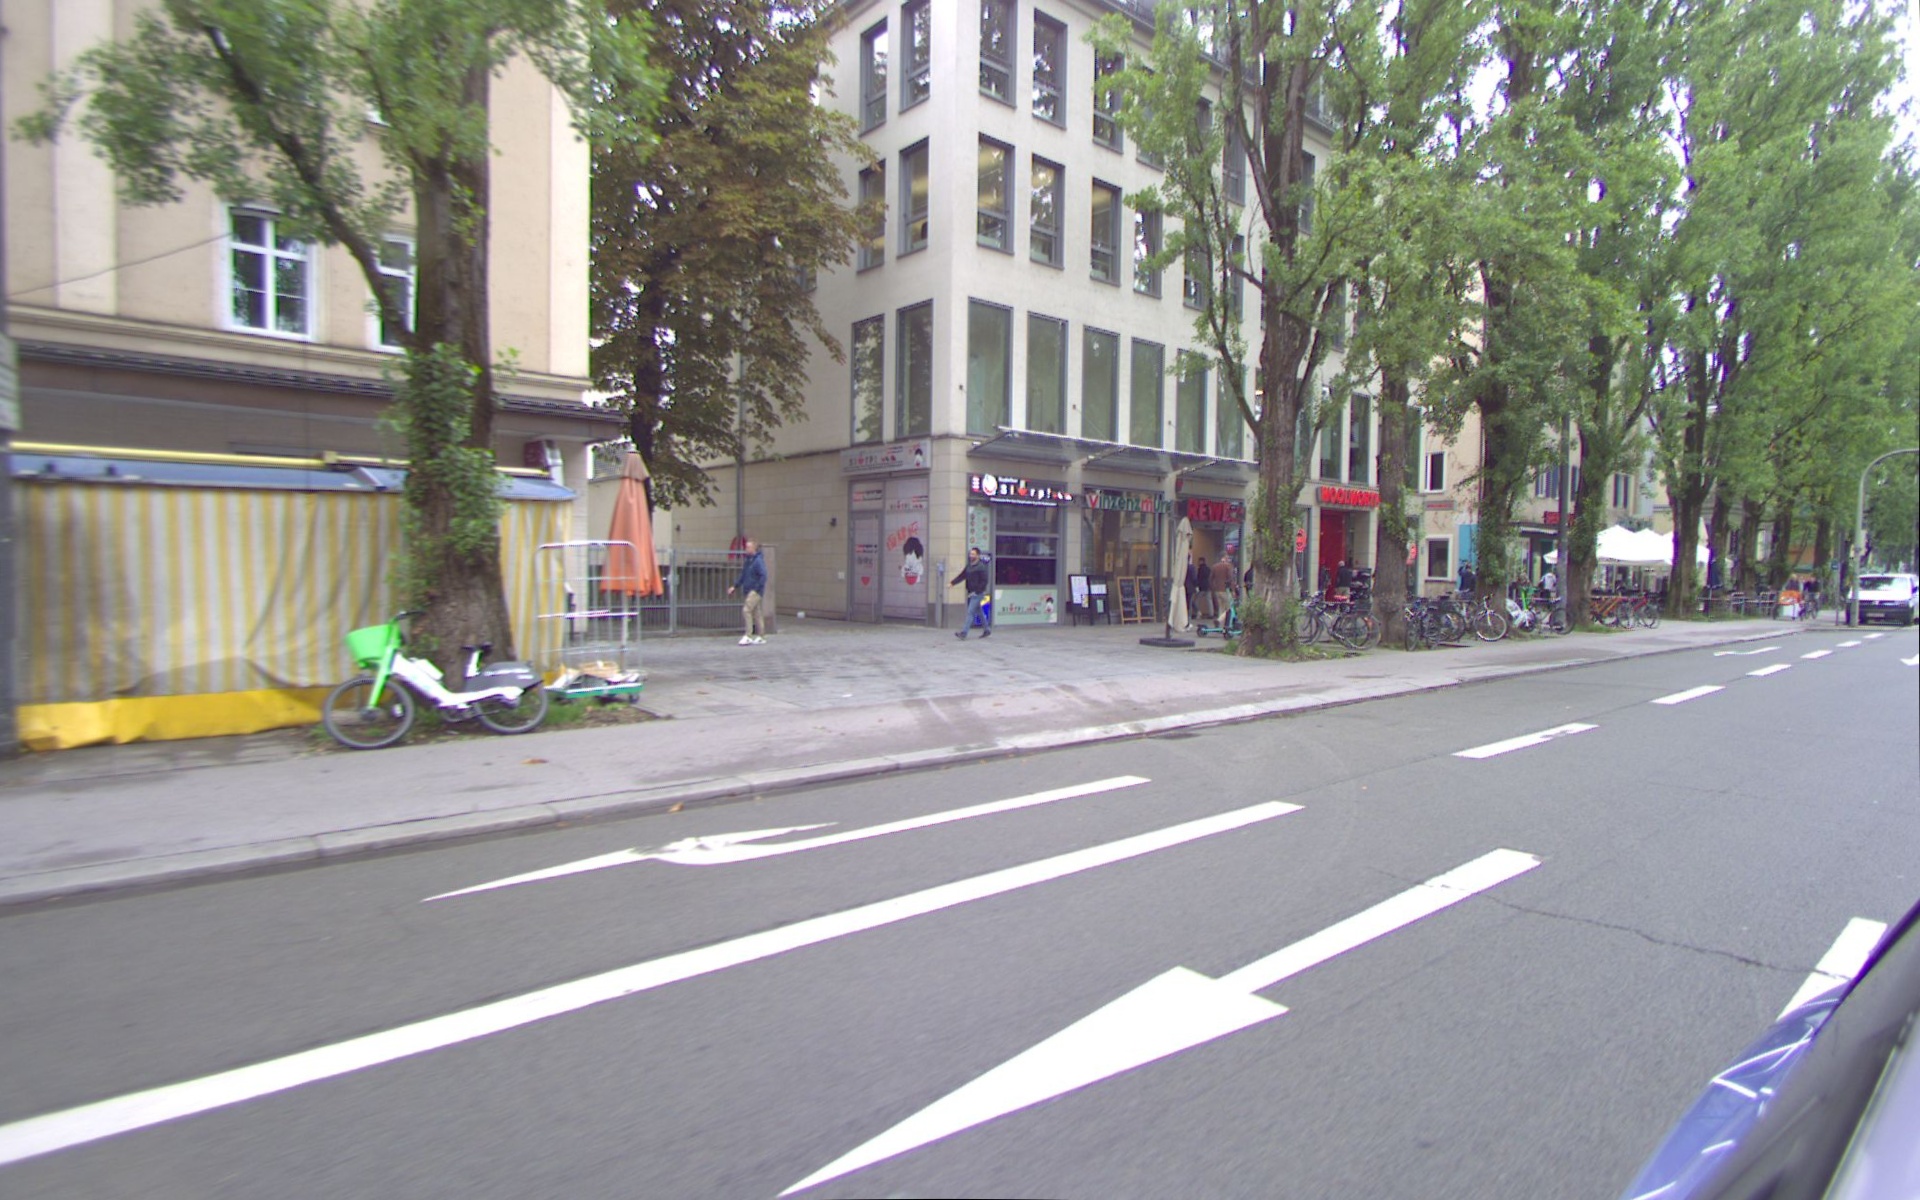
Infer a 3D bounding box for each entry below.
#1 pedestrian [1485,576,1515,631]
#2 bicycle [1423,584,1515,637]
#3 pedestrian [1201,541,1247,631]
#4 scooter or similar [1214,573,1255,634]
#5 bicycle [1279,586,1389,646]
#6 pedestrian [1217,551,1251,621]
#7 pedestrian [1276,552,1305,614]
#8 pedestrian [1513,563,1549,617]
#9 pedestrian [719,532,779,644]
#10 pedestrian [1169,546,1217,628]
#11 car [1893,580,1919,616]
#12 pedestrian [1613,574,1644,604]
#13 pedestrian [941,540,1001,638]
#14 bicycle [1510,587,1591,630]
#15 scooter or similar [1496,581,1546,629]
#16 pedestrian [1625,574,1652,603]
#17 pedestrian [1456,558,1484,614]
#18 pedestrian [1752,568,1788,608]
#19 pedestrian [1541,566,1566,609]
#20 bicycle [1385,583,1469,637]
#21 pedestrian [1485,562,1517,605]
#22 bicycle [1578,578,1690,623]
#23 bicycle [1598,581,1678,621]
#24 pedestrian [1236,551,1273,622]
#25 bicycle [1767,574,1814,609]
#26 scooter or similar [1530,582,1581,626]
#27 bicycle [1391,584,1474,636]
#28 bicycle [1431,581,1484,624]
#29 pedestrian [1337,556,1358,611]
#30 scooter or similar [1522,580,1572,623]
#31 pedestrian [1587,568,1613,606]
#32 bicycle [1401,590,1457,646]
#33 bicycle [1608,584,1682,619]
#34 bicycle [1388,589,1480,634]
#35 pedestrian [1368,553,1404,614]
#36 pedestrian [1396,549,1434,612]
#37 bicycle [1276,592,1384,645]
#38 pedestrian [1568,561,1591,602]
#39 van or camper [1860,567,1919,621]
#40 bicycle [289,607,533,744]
[{"bbox_3d":[16.841,0.095,31.545,0.737,1.669,0.548,0,1,-38],"label":"pedestrian"},{"bbox_3d":[11.802,0.224,23.498,1.864,1.149,0.335,3,2,42],"label":"bicycle"},{"bbox_3d":[6.009,-0.332,23.049,0.709,1.995,0.658,0,2,-38],"label":"pedestrian"},{"bbox_3d":[6.003,0.067,22.113,1.018,1.289,0.331,-1,2,-41],"label":"scooter or similar"},{"bbox_3d":[7.291,0.291,19.800,1.991,1.096,0.282,2,2,34],"label":"bicycle"},{"bbox_3d":[7.225,-0.379,26.700,0.662,1.806,0.566,-1,2,-40],"label":"pedestrian"},{"bbox_3d":[9.692,-0.490,29.685,0.630,1.789,0.547,-1,1,-41],"label":"pedestrian"},{"bbox_3d":[17.608,-0.323,31.209,0.780,1.608,0.710,-1,4,-43],"label":"pedestrian"},{"bbox_3d":[-3.576,-0.208,17.137,0.742,1.837,0.745,-1,2,-37],"label":"pedestrian"},{"bbox_3d":[5.438,-0.324,23.607,0.889,1.873,0.658,-1,2,-39],"label":"pedestrian"},{"bbox_3d":[39.826,-0.102,41.789,3.422,1.414,1.475,-1,3,-40],"label":"car"},{"bbox_3d":[27.839,-0.482,42.165,1.004,1.231,0.775,-1,1,-37],"label":"pedestrian"},{"bbox_3d":[0.223,-0.232,19.697,0.805,1.837,0.972,1,2,28],"label":"pedestrian"},{"bbox_3d":[15.553,0.199,26.720,0.385,1.021,1.848,0,3,-31],"label":"bicycle"},{"bbox_3d":[14.577,0.126,26.315,0.395,1.184,1.247,-1,2,-11],"label":"scooter or similar"},{"bbox_3d":[28.802,-0.505,42.970,1.004,1.231,0.668,-1,1,-37],"label":"pedestrian"},{"bbox_3d":[16.333,-0.449,32.403,0.684,1.764,0.566,0,1,-38],"label":"pedestrian"},{"bbox_3d":[36.864,-0.544,46.059,0.819,1.788,0.945,0,1,-3],"label":"pedestrian"},{"bbox_3d":[23.407,-0.500,39.909,0.680,1.684,0.667,-1,1,-42],"label":"pedestrian"},{"bbox_3d":[10.470,0.208,22.729,1.669,1.131,0.282,2,2,38],"label":"bicycle"},{"bbox_3d":[20.701,-0.648,38.752,0.998,1.624,0.764,-1,1,-40],"label":"pedestrian"},{"bbox_3d":[19.902,-0.021,29.946,0.948,1.230,2.577,-1,3,-40],"label":"bicycle"},{"bbox_3d":[20.664,0.010,30.853,0.674,1.140,1.902,-1,2,-40],"label":"bicycle"},{"bbox_3d":[7.570,-0.357,26.019,0.662,1.806,0.658,-1,2,-39],"label":"pedestrian"},{"bbox_3d":[35.587,-0.393,43.398,0.819,1.429,2.580,1,1,23],"label":"bicycle"},{"bbox_3d":[16.419,0.116,27.892,1.221,1.184,0.286,-1,1,2],"label":"scooter or similar"},{"bbox_3d":[10.740,0.211,23.031,1.657,1.120,0.391,2,2,39],"label":"bicycle"},{"bbox_3d":[13.177,0.048,26.782,1.968,1.076,0.393,-1,3,-37],"label":"bicycle"},{"bbox_3d":[12.700,-0.555,33.162,0.590,1.789,0.636,1,1,27],"label":"pedestrian"},{"bbox_3d":[16.422,0.047,28.314,1.220,1.184,0.307,-1,1,-2],"label":"scooter or similar"},{"bbox_3d":[27.268,-0.552,43.119,0.859,1.597,0.696,-1,1,-40],"label":"pedestrian"},{"bbox_3d":[9.654,0.345,20.802,0.433,1.074,1.974,2,3,43],"label":"bicycle"},{"bbox_3d":[21.303,0.027,31.504,0.494,1.022,1.843,-1,3,-40],"label":"bicycle"},{"bbox_3d":[11.417,0.255,24.427,1.997,0.999,0.387,2,2,42],"label":"bicycle"},{"bbox_3d":[13.462,-0.533,31.974,0.806,1.877,0.753,-1,1,-39],"label":"pedestrian"},{"bbox_3d":[13.953,-0.595,31.033,0.806,1.892,0.754,-1,2,-38],"label":"pedestrian"},{"bbox_3d":[7.349,0.354,20.169,1.991,0.957,0.283,2,2,33],"label":"bicycle"},{"bbox_3d":[26.586,-0.800,43.430,0.669,1.741,0.629,-1,1,-40],"label":"pedestrian"},{"bbox_3d":[35.885,-0.272,38.524,4.485,1.928,1.794,-1,2,-40],"label":"van or camper"},{"bbox_3d":[-4.568,0.585,8.513,1.740,0.987,0.509,-1,2,-43],"label":"bicycle"}]
